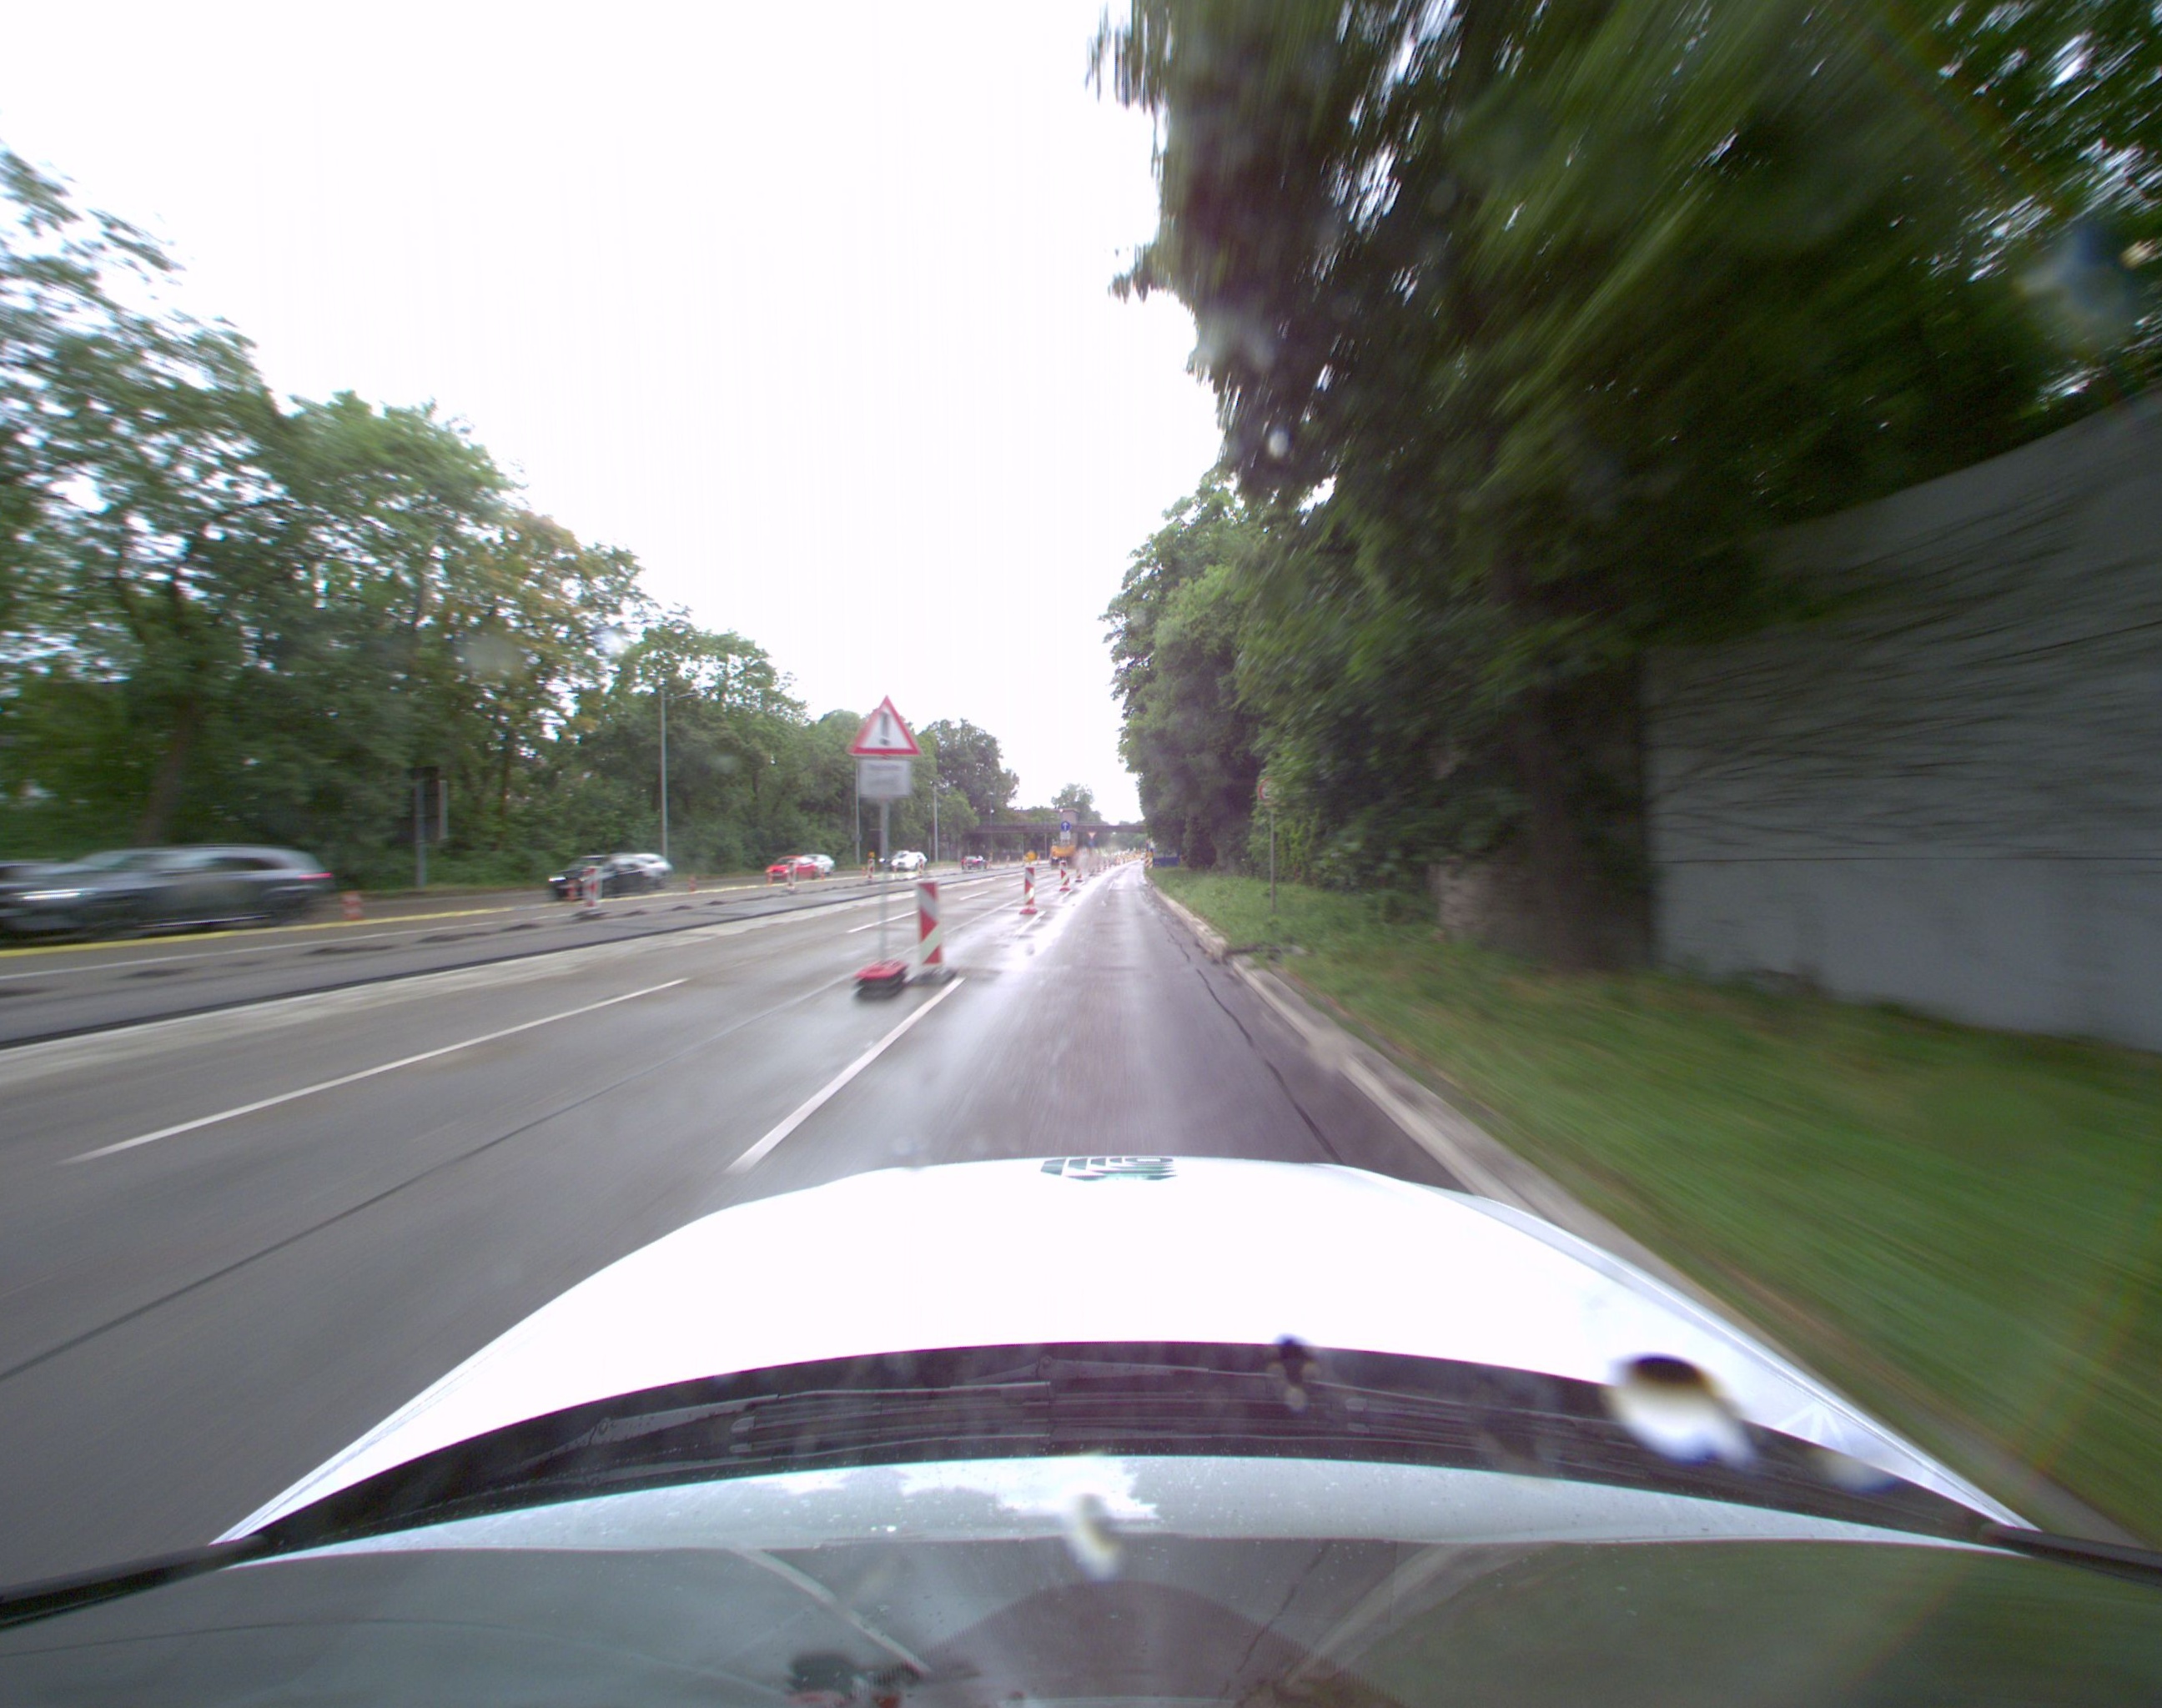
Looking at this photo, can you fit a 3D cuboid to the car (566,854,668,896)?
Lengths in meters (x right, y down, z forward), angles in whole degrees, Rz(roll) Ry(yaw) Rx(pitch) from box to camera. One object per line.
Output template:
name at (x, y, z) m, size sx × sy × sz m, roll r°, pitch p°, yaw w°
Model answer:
car at (-19.713, 0.840, 34.837) m, size 1.696 × 1.627 × 4.420 m, roll 0°, pitch 0°, yaw 2°

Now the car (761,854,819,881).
car at (-16.283, 0.717, 45.736) m, size 1.672 × 1.400 × 4.015 m, roll 0°, pitch 0°, yaw 3°

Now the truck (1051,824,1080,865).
truck at (-1.578, -1.004, 90.293) m, size 2.887 × 4.259 × 10.756 m, roll 0°, pitch 0°, yaw 1°

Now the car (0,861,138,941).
car at (-20.465, 0.874, 14.894) m, size 1.638 × 1.420 × 4.003 m, roll 0°, pitch 0°, yaw 3°

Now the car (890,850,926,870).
car at (-14.789, 0.505, 69.922) m, size 1.882 × 1.661 × 4.896 m, roll 0°, pitch 0°, yaw 2°

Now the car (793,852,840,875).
car at (-18.401, 0.650, 56.894) m, size 1.672 × 1.496 × 4.152 m, roll -2°, pitch 0°, yaw 3°

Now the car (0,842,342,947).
car at (-17.854, 0.656, 15.956) m, size 2.013 × 1.725 × 5.016 m, roll 0°, pitch 0°, yaw 2°

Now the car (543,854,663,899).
car at (-17.181, 0.762, 29.529) m, size 1.769 × 1.487 × 4.199 m, roll 0°, pitch 0°, yaw 2°

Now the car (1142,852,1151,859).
car at (14.345, 0.314, 178.146) m, size 1.984 × 1.640 × 4.006 m, roll -2°, pitch 0°, yaw 5°
